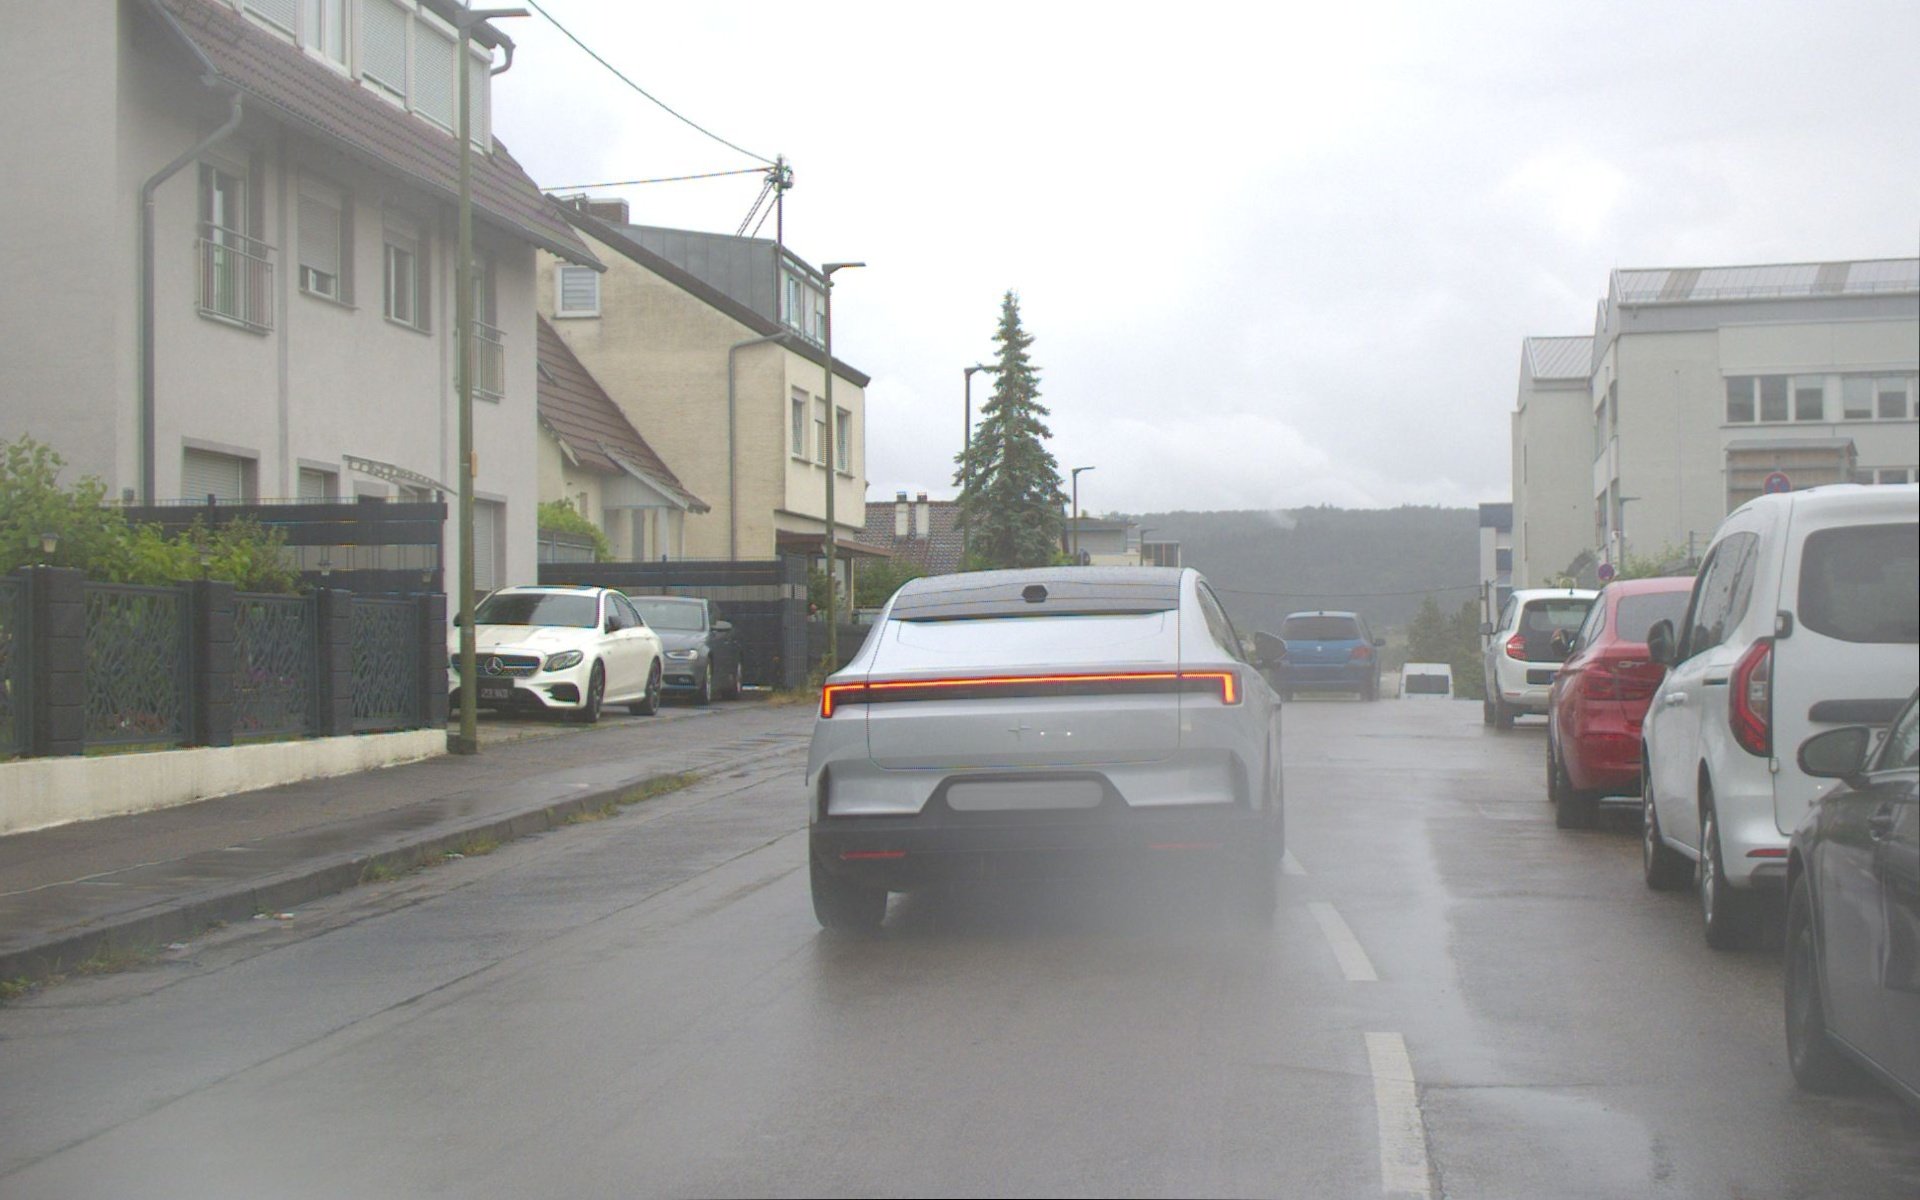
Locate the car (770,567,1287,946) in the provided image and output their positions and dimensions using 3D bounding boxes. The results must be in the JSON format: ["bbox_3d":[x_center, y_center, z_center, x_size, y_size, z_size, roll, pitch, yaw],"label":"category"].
[{"bbox_3d":[0.483,0.610,15.986,1.994,1.497,4.668,0,0,6],"label":"car"}]

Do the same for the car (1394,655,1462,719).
[{"bbox_3d":[16.255,3.042,119.558,1.994,2.007,3.999,-1,-4,4],"label":"car"}]

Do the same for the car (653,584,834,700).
[{"bbox_3d":[-2.792,0.517,45.297,1.827,1.364,4.569,3,0,3],"label":"car"}]

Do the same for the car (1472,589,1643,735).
[{"bbox_3d":[6.702,0.673,38.837,1.682,1.552,3.673,1,0,7],"label":"car"}]

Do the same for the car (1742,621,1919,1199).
[{"bbox_3d":[3.087,0.748,8.268,1.769,1.331,4.320,1,0,5],"label":"car"}]

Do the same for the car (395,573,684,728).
[{"bbox_3d":[-4.556,0.520,38.022,1.994,1.505,4.894,3,0,7],"label":"car"}]

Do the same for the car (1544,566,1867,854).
[{"bbox_3d":[4.512,0.596,21.332,1.643,1.569,4.642,1,0,8],"label":"car"}]

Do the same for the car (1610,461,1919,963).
[{"bbox_3d":[3.868,0.403,14.751,1.769,1.819,4.573,1,0,6],"label":"car"}]
